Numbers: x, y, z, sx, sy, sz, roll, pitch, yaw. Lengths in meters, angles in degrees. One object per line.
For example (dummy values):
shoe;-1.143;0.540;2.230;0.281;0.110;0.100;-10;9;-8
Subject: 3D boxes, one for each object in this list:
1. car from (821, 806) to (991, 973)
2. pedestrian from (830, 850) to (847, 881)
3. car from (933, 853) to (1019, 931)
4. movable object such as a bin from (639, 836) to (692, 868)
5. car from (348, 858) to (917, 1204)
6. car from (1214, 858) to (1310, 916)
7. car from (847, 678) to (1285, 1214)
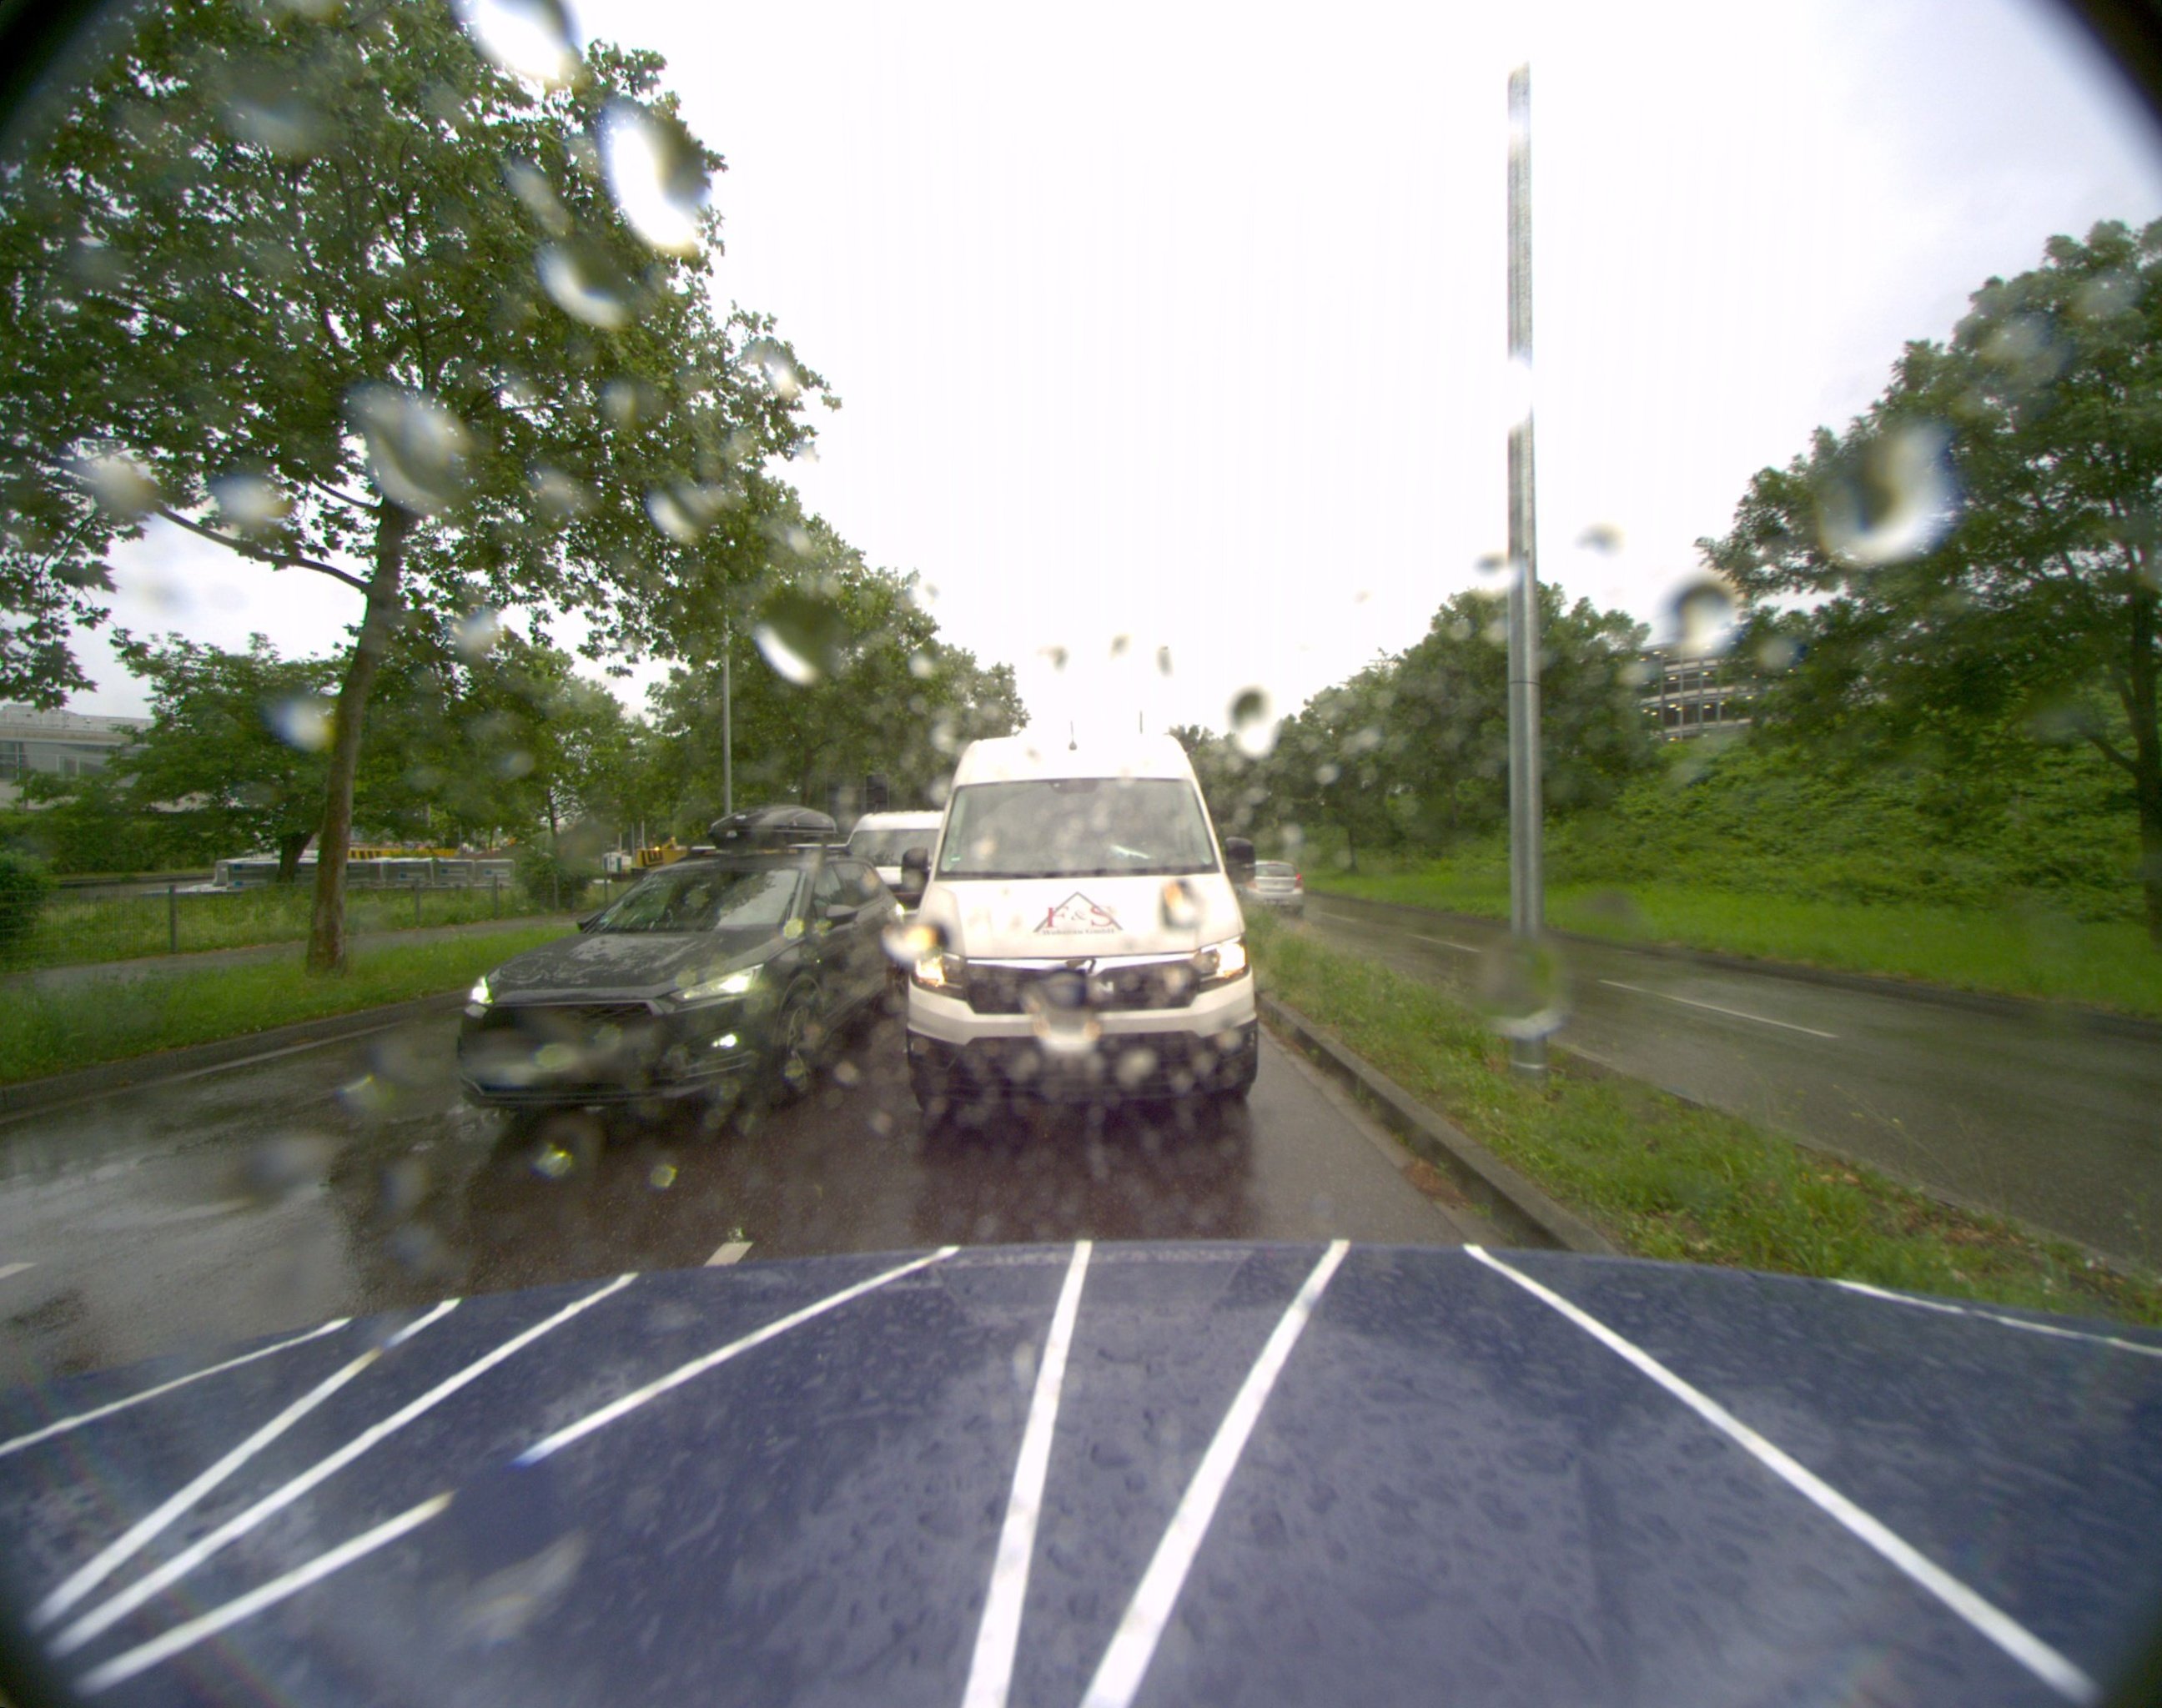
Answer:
car;-2.900;0.511;13.869;1.894;2.432;5.317;-1;0;-1
pedestrian;-13.507;0.648;42.251;0.646;1.707;0.656;-2;1;1
car;-2.790;0.943;21.223;1.807;1.902;4.546;-1;0;-1
movable object such as a bin;-47.851;-0.243;87.582;4.932;3.415;1.919;-2;1;5
car;-2.749;0.912;6.072;1.894;1.688;4.423;-1;0;0
car;5.181;0.904;22.315;1.820;1.454;3.999;2;0;0
car;-0.113;0.427;6.446;2.027;2.498;5.695;-1;0;-1
